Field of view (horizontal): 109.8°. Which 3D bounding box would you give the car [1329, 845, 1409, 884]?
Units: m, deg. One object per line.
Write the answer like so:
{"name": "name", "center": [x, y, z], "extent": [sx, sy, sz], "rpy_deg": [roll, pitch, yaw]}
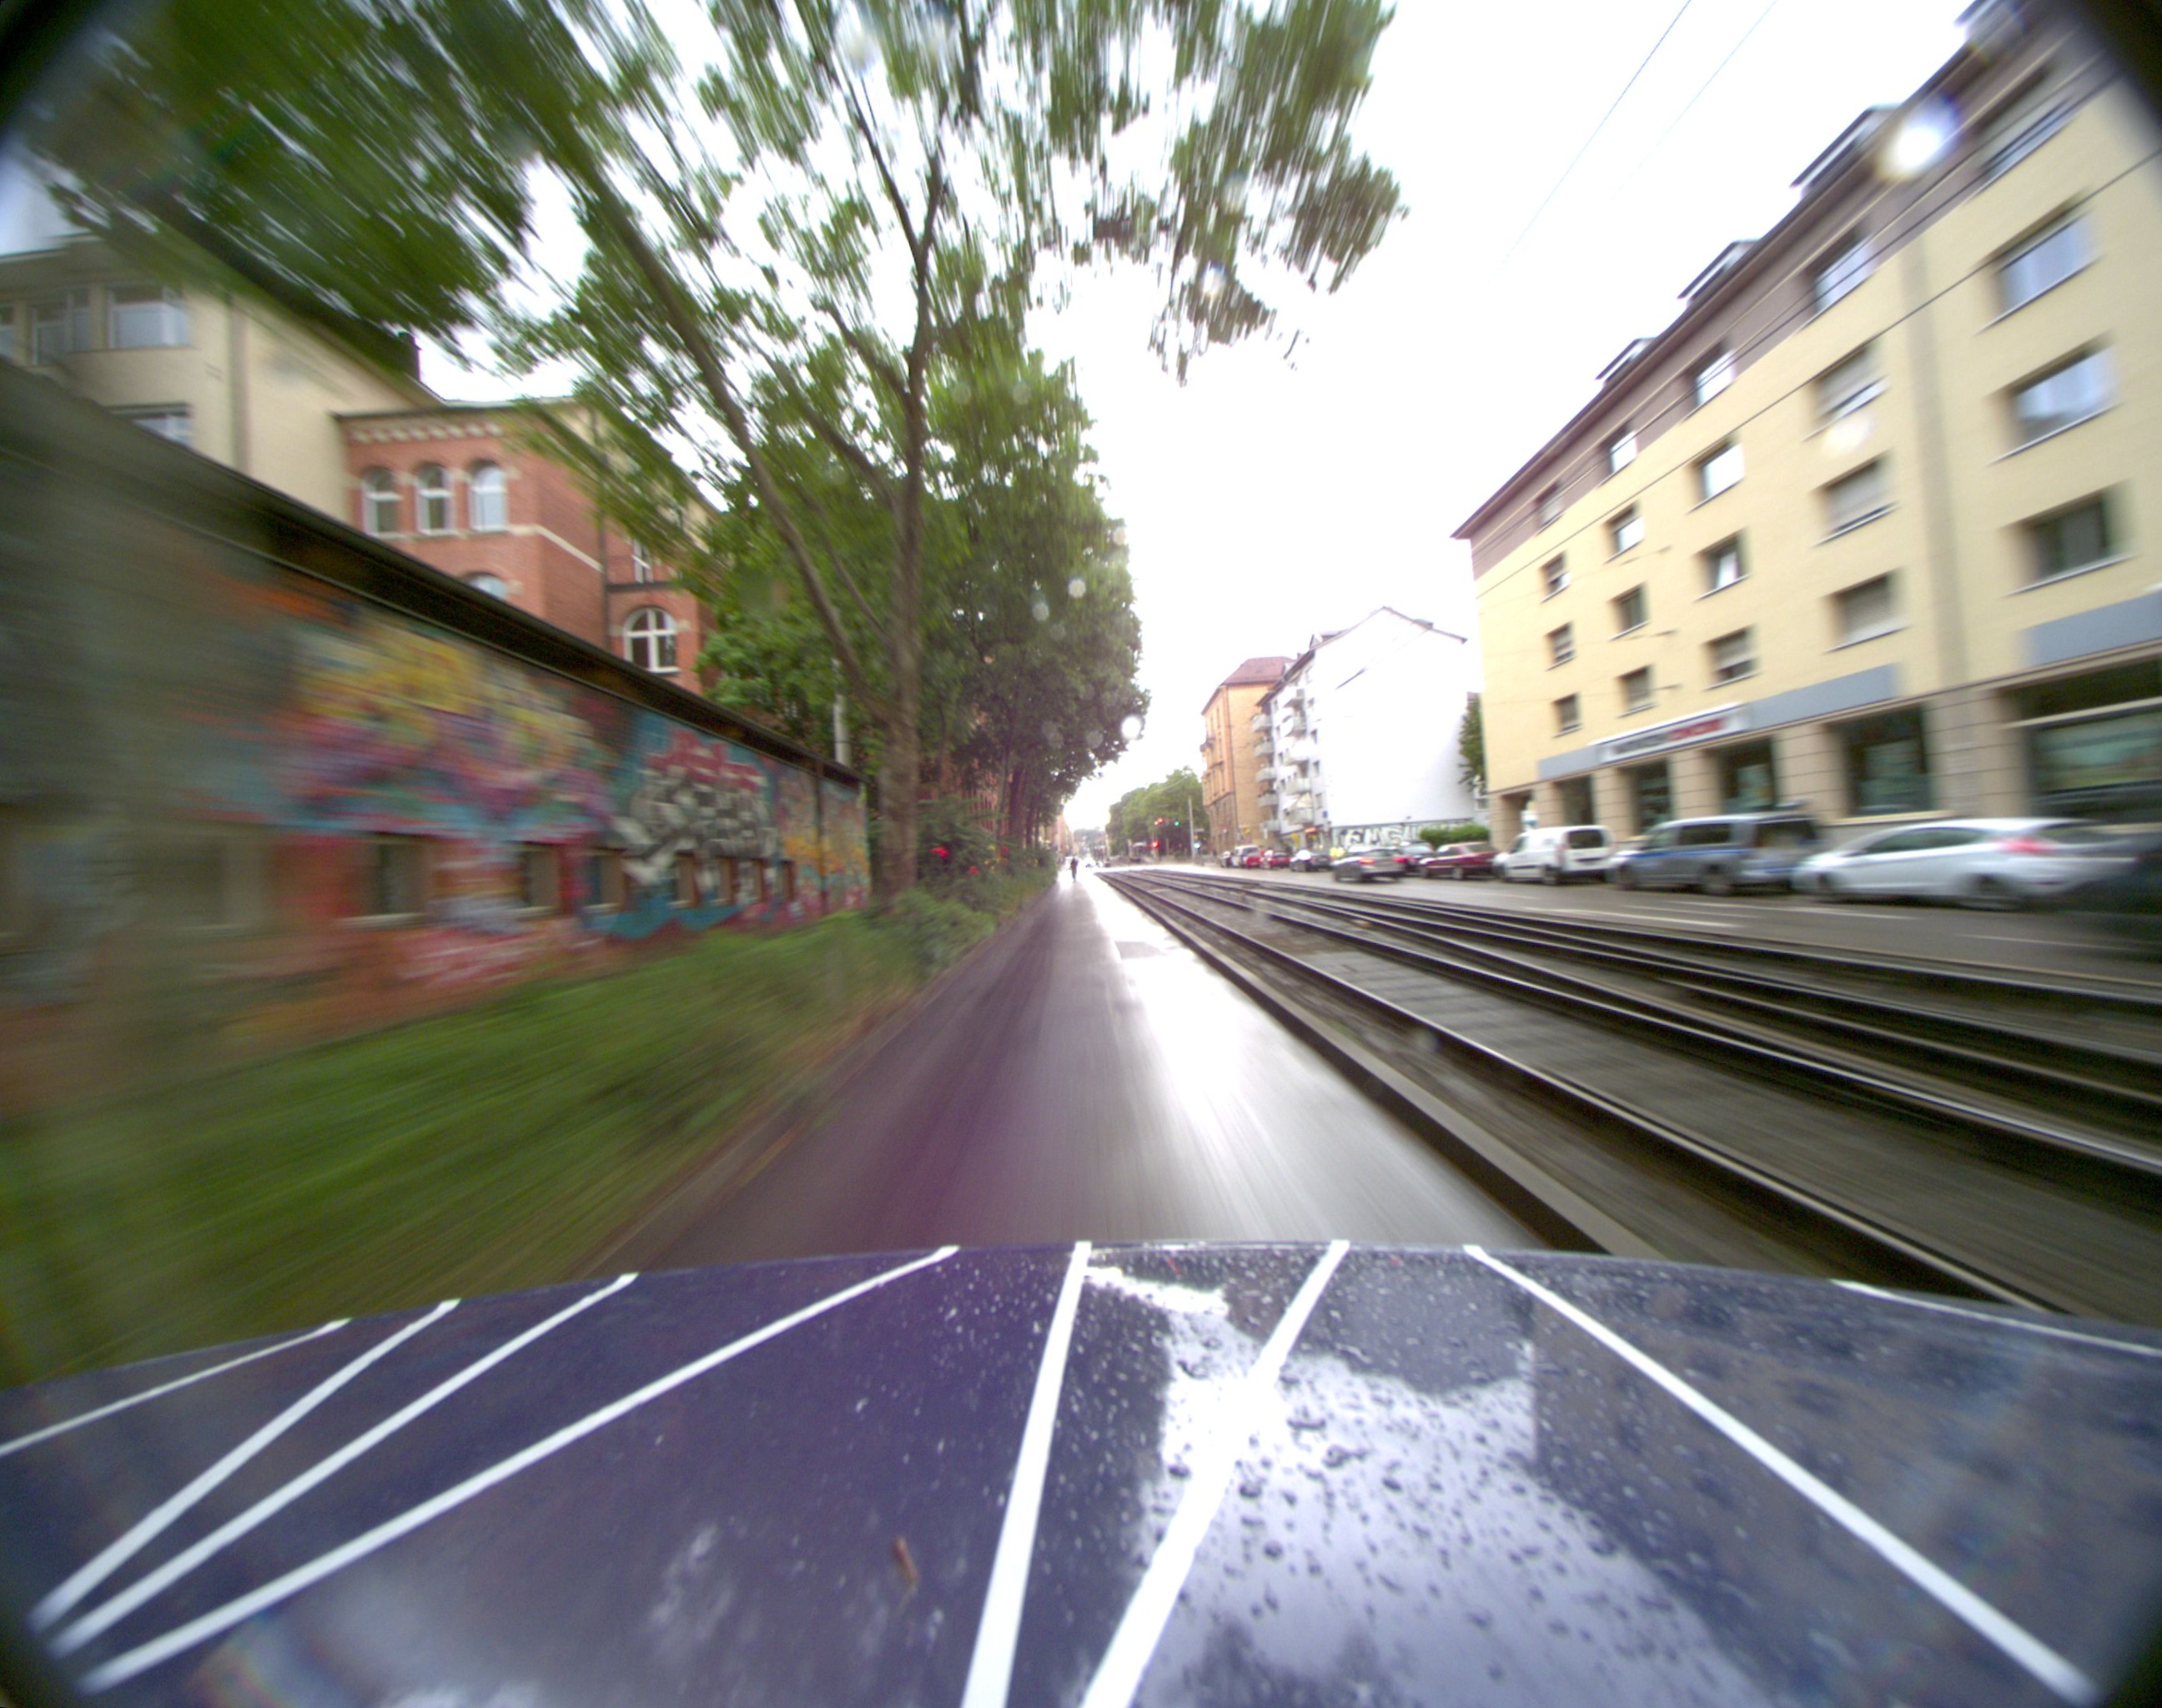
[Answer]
{"name": "car", "center": [12.008, 0.408, 31.953], "extent": [1.716, 1.453, 4.281], "rpy_deg": [-3, 0, 1]}

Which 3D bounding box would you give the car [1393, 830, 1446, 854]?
{"name": "car", "center": [21.927, -0.755, 49.394], "extent": [1.874, 1.295, 4.480], "rpy_deg": [-3, -1, 7]}

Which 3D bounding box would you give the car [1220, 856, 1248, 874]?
{"name": "car", "center": [15.053, 1.088, 74.822], "extent": [1.737, 1.641, 4.363], "rpy_deg": [-4, 0, 0]}

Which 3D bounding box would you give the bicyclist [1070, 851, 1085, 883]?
{"name": "bicyclist", "center": [-0.279, 0.907, 55.087], "extent": [0.920, 2.250, 1.287], "rpy_deg": [-3, 0, 2]}

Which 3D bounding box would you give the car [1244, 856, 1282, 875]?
{"name": "car", "center": [15.509, 0.963, 64.583], "extent": [1.781, 1.425, 3.989], "rpy_deg": [-4, 0, 34]}

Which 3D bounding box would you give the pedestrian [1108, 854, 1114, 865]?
{"name": "pedestrian", "center": [4.957, 0.890, 124.528], "extent": [0.827, 1.788, 1.001], "rpy_deg": [-3, 0, -2]}

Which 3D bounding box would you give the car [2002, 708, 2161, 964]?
{"name": "car", "center": [11.232, -0.199, 5.435], "extent": [1.998, 2.437, 5.998], "rpy_deg": [-3, 1, 1]}

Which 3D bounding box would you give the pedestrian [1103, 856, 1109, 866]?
{"name": "pedestrian", "center": [4.085, 1.074, 124.646], "extent": [0.837, 1.595, 1.001], "rpy_deg": [-3, 0, -2]}

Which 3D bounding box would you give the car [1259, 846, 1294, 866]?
{"name": "car", "center": [15.013, 0.161, 58.533], "extent": [1.657, 1.443, 4.074], "rpy_deg": [-3, 0, 2]}

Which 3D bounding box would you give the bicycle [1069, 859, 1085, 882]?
{"name": "bicycle", "center": [-0.288, 1.174, 54.917], "extent": [0.936, 1.545, 3.135], "rpy_deg": [-3, 0, 2]}

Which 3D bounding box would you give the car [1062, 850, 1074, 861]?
{"name": "car", "center": [-2.547, 0.238, 146.578], "extent": [1.825, 1.893, 5.991], "rpy_deg": [-4, 0, 2]}

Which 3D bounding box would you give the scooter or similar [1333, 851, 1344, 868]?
{"name": "scooter or similar", "center": [19.722, 0.434, 58.136], "extent": [0.623, 1.193, 1.897], "rpy_deg": [-6, -1, 20]}

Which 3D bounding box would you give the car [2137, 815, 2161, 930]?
{"name": "car", "center": [14.947, 0.166, 7.780], "extent": [1.818, 1.490, 4.582], "rpy_deg": [-4, 0, 0]}

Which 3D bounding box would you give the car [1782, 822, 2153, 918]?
{"name": "car", "center": [15.073, 0.254, 13.334], "extent": [1.696, 1.431, 4.048], "rpy_deg": [0, 0, -3]}

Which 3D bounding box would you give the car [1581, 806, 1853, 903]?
{"name": "car", "center": [15.112, 0.050, 18.632], "extent": [1.998, 1.893, 5.460], "rpy_deg": [-5, -1, 1]}

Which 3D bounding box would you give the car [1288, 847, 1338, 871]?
{"name": "car", "center": [14.867, 0.291, 48.882], "extent": [1.684, 1.388, 4.622], "rpy_deg": [-3, 0, -1]}

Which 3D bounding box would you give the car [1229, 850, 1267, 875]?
{"name": "car", "center": [15.194, 0.763, 69.334], "extent": [2.075, 1.997, 5.302], "rpy_deg": [-6, -1, 0]}

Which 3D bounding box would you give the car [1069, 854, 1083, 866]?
{"name": "car", "center": [-0.704, 0.801, 106.451], "extent": [1.884, 1.438, 4.000], "rpy_deg": [-4, 0, 0]}

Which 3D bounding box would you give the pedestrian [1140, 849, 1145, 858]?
{"name": "pedestrian", "center": [14.039, -0.114, 173.375], "extent": [0.837, 2.050, 0.884], "rpy_deg": [-3, 0, -4]}

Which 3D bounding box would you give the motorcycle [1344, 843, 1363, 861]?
{"name": "motorcycle", "center": [20.517, -0.160, 57.230], "extent": [0.641, 1.193, 1.784], "rpy_deg": [-7, 2, -1]}

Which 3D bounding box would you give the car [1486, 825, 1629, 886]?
{"name": "car", "center": [15.213, 0.041, 24.587], "extent": [1.871, 1.707, 4.460], "rpy_deg": [-3, 0, 2]}

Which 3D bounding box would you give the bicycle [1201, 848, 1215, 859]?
{"name": "bicycle", "center": [20.764, -0.076, 123.949], "extent": [2.096, 1.689, 0.556], "rpy_deg": [-4, 4, -6]}

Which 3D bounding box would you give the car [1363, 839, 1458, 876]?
{"name": "car", "center": [15.296, 0.176, 35.602], "extent": [1.857, 1.499, 4.989], "rpy_deg": [-3, 0, -5]}

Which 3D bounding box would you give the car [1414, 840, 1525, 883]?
{"name": "car", "center": [15.243, 0.262, 30.141], "extent": [1.856, 1.424, 4.831], "rpy_deg": [-4, 0, 0]}
